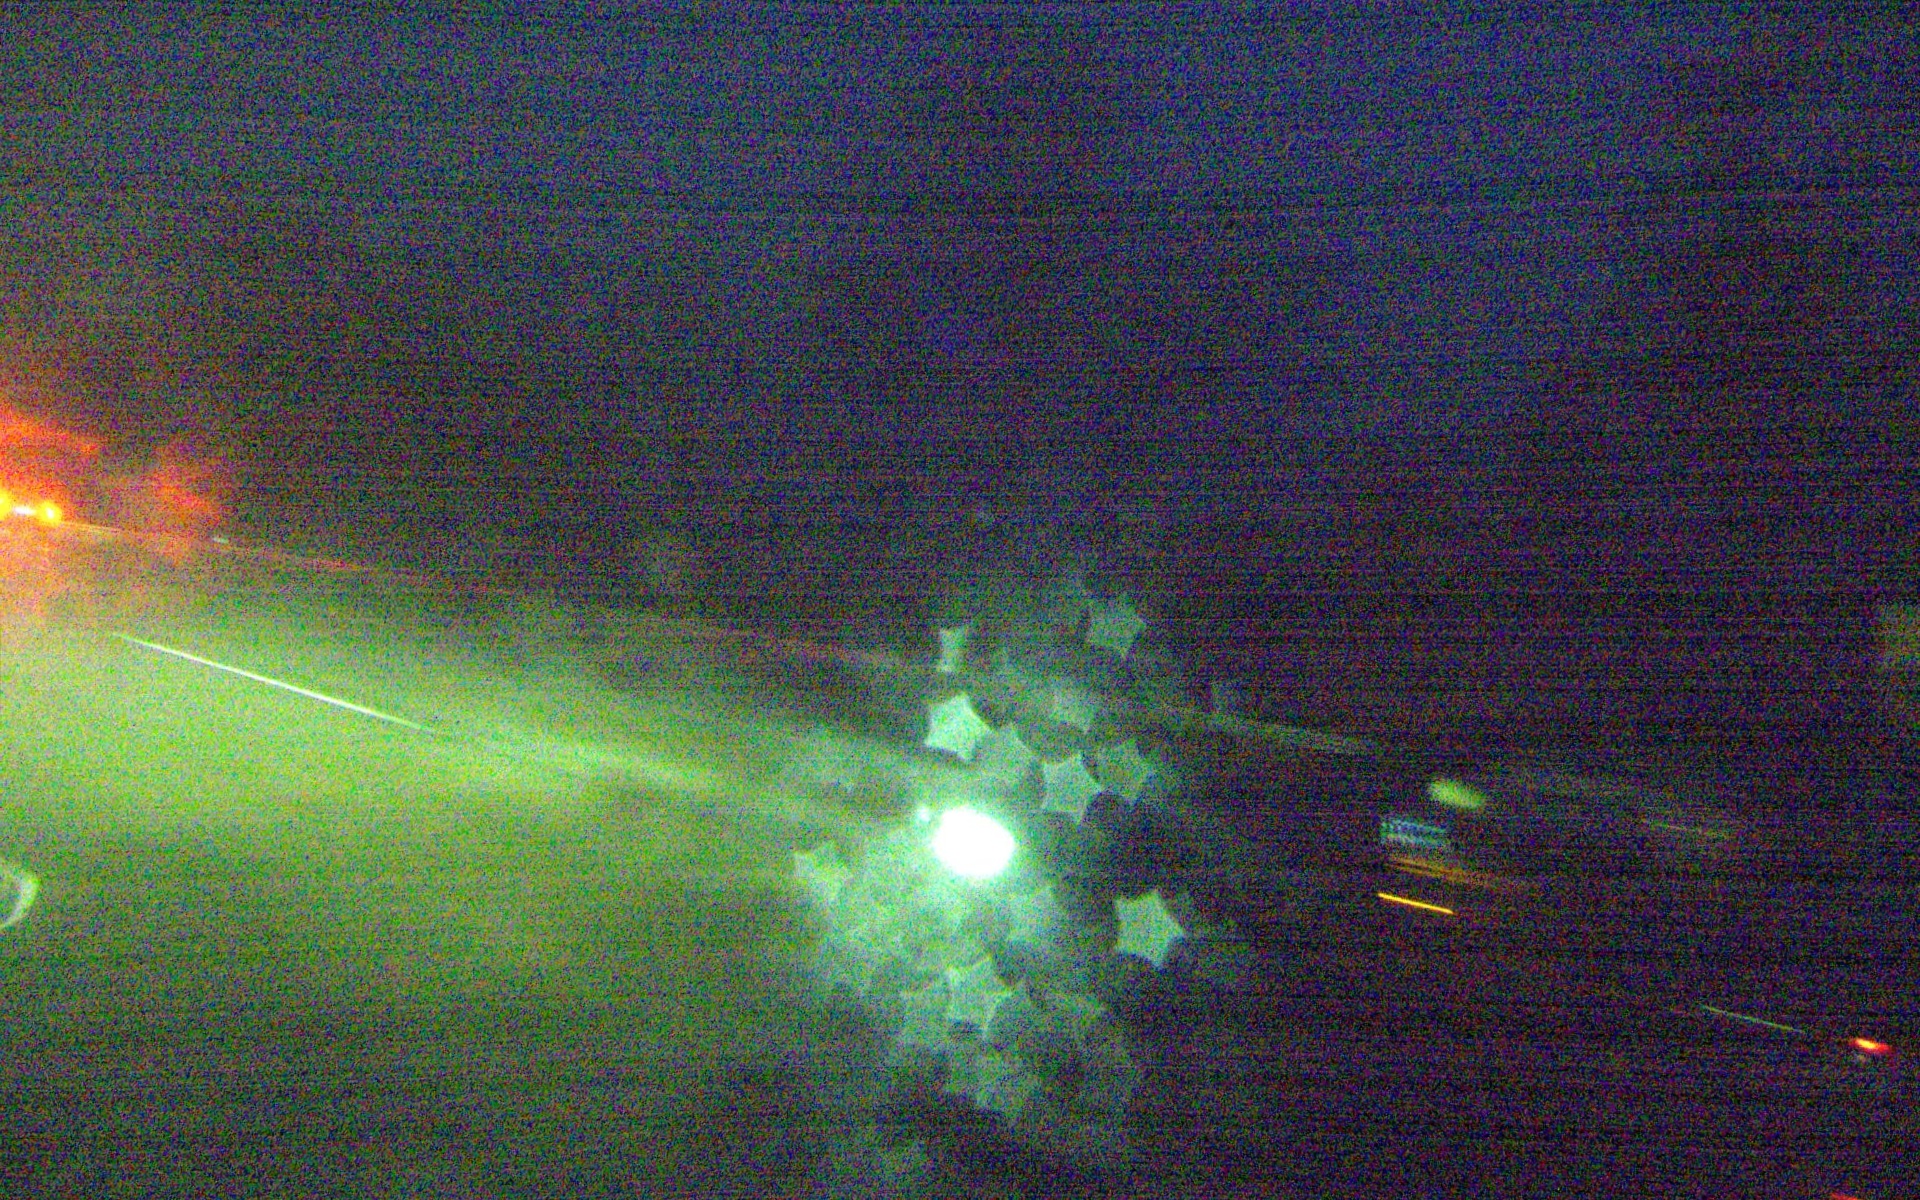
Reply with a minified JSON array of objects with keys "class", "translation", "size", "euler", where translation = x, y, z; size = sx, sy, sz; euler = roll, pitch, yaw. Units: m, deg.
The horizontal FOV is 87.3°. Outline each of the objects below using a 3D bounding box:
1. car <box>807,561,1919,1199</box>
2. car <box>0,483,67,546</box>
[{"class":"car","translation":[1.655,0.985,2.888],"size":[3.616,1.643,1.848],"euler":[7,-2,30]},{"class":"car","translation":[-36.840,-3.435,39.062],"size":[5.365,2.037,2.064],"euler":[7,-2,37]}]
